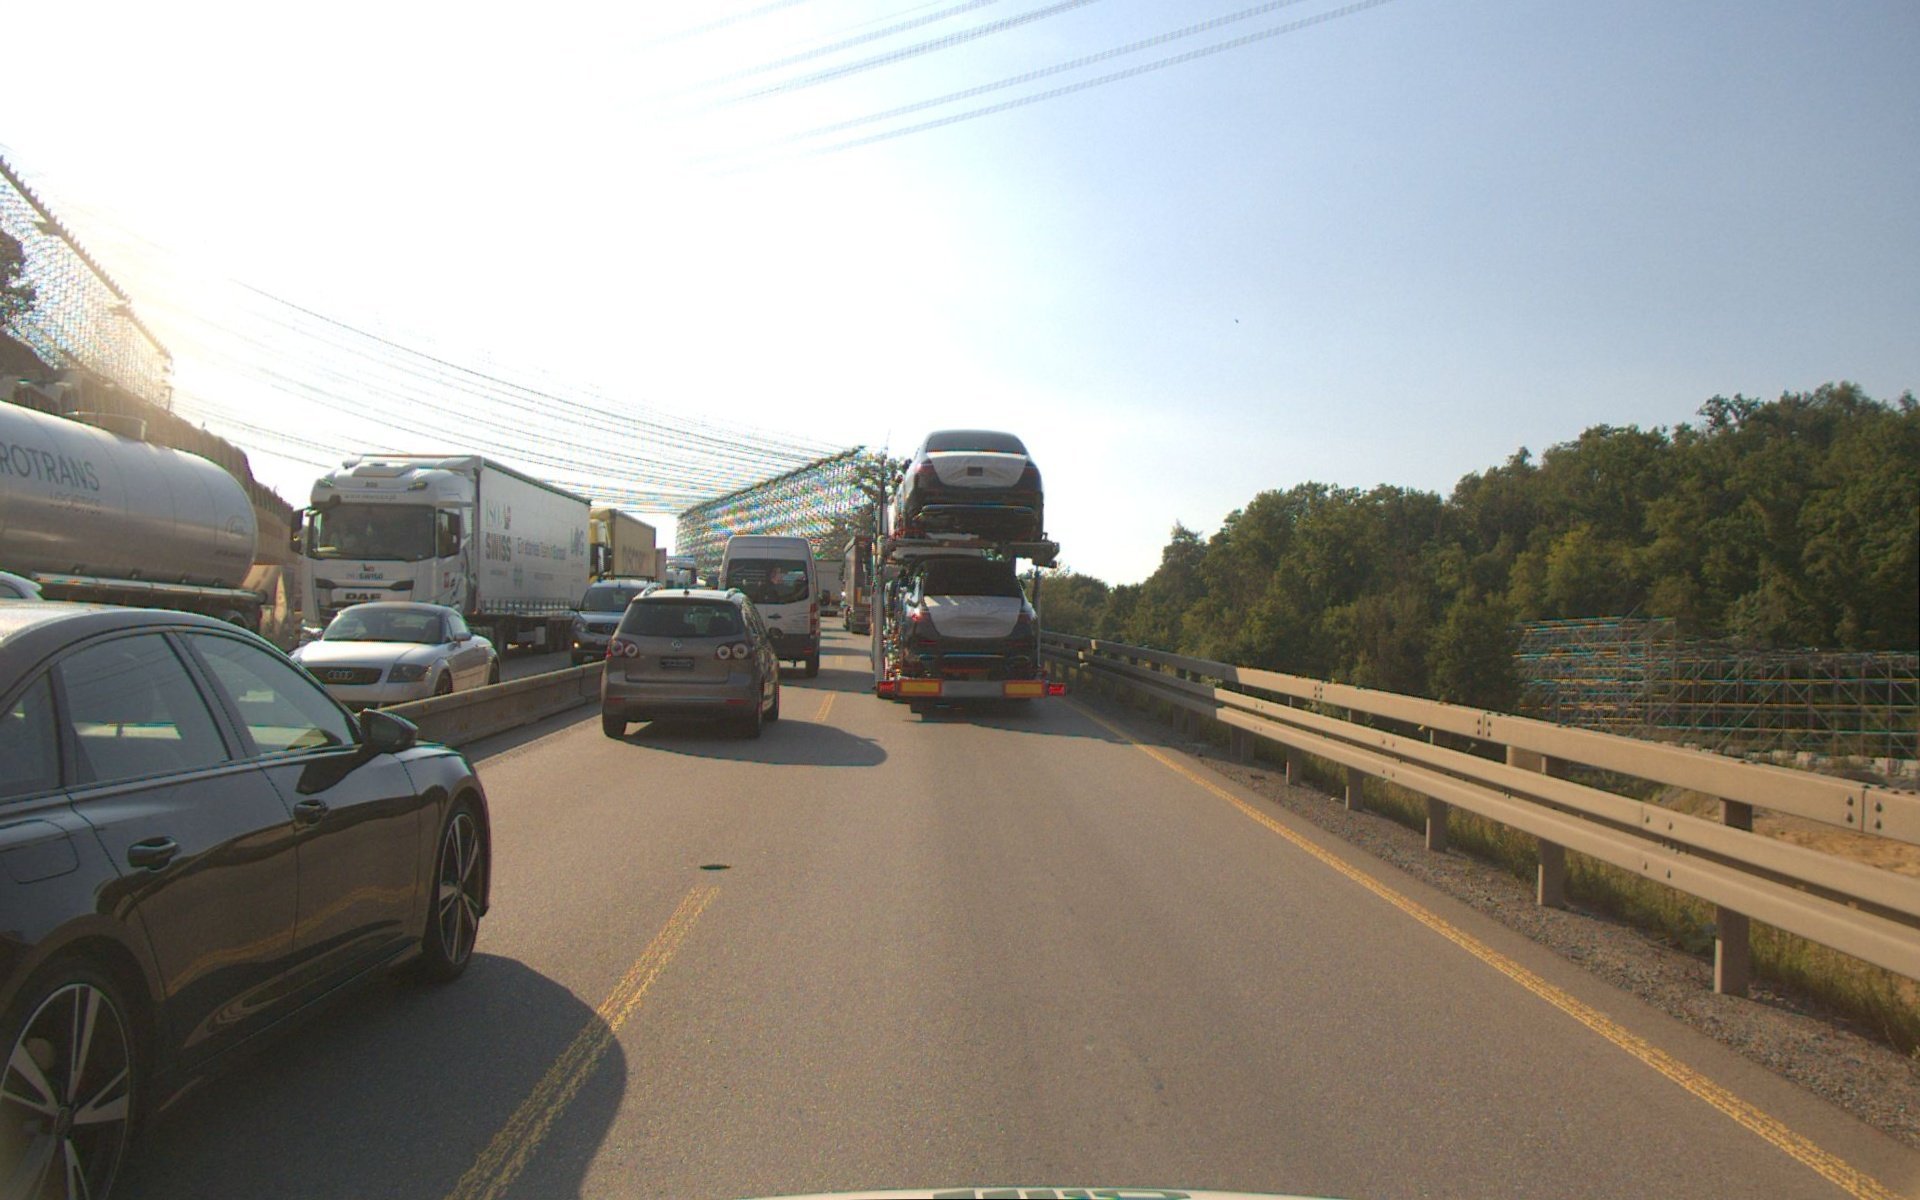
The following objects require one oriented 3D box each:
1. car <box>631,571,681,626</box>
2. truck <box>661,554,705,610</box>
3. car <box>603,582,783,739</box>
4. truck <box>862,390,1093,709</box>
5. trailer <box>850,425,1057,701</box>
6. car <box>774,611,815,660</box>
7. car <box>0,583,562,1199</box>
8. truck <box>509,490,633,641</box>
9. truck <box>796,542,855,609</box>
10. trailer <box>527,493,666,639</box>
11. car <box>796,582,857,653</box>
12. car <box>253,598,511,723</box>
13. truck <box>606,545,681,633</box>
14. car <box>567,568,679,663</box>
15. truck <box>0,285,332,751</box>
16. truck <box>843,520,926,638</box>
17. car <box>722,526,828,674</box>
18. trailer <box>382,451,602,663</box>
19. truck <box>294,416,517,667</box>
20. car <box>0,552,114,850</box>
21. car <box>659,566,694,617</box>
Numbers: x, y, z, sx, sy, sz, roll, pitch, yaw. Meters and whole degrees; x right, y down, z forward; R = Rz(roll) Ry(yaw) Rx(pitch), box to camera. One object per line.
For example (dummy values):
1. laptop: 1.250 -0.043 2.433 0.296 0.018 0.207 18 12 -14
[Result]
1. car: -15.989 -0.031 87.318 2.087 2.798 5.498 0 -1 -5
2. truck: -20.892 -1.318 125.194 2.590 4.065 9.018 1 0 -6
3. car: -2.975 0.670 19.162 1.667 1.615 4.143 0 -1 -4
4. truck: 0.071 -0.575 23.932 2.814 4.050 5.765 0 -1 -5
5. trailer: -0.587 -0.377 32.089 2.818 4.064 15.262 0 -1 -5
6. car: -6.893 1.481 69.055 1.636 2.019 3.813 0 -1 -6
7. car: -2.784 0.757 4.945 1.900 1.506 5.221 0 -1 0
8. truck: -11.860 -0.938 50.919 2.837 4.347 5.765 0 -1 -5
9. truck: -10.254 -1.777 125.062 3.581 4.759 11.670 1 0 -9
10. trailer: -12.443 -0.893 58.055 2.837 4.471 14.364 0 -1 -5
11. car: -3.918 0.544 49.025 1.635 2.019 3.816 0 -1 -2
12. car: -6.476 0.653 18.999 1.677 1.274 4.049 0 -1 -2
13. truck: -13.708 -0.370 72.123 2.312 3.593 7.690 0 -1 -4
14. car: -7.389 0.314 36.680 1.797 1.950 4.861 1 0 -4
15. truck: -9.761 -0.722 15.717 2.752 4.039 13.887 1 0 -2
16. truck: -3.467 -0.882 73.036 3.165 4.759 11.683 1 0 -5
17. car: -3.587 0.041 32.632 1.940 2.732 4.142 0 -1 -5
18. trailer: -10.884 -0.747 39.920 2.404 4.341 12.137 0 -1 -3
19. truck: -10.456 -0.951 31.856 2.395 4.347 6.317 0 -1 -3
20. car: -6.303 0.560 8.317 1.808 1.676 4.558 0 -1 -1
21. car: -16.276 -0.496 95.095 1.636 2.813 4.953 1 0 -6
